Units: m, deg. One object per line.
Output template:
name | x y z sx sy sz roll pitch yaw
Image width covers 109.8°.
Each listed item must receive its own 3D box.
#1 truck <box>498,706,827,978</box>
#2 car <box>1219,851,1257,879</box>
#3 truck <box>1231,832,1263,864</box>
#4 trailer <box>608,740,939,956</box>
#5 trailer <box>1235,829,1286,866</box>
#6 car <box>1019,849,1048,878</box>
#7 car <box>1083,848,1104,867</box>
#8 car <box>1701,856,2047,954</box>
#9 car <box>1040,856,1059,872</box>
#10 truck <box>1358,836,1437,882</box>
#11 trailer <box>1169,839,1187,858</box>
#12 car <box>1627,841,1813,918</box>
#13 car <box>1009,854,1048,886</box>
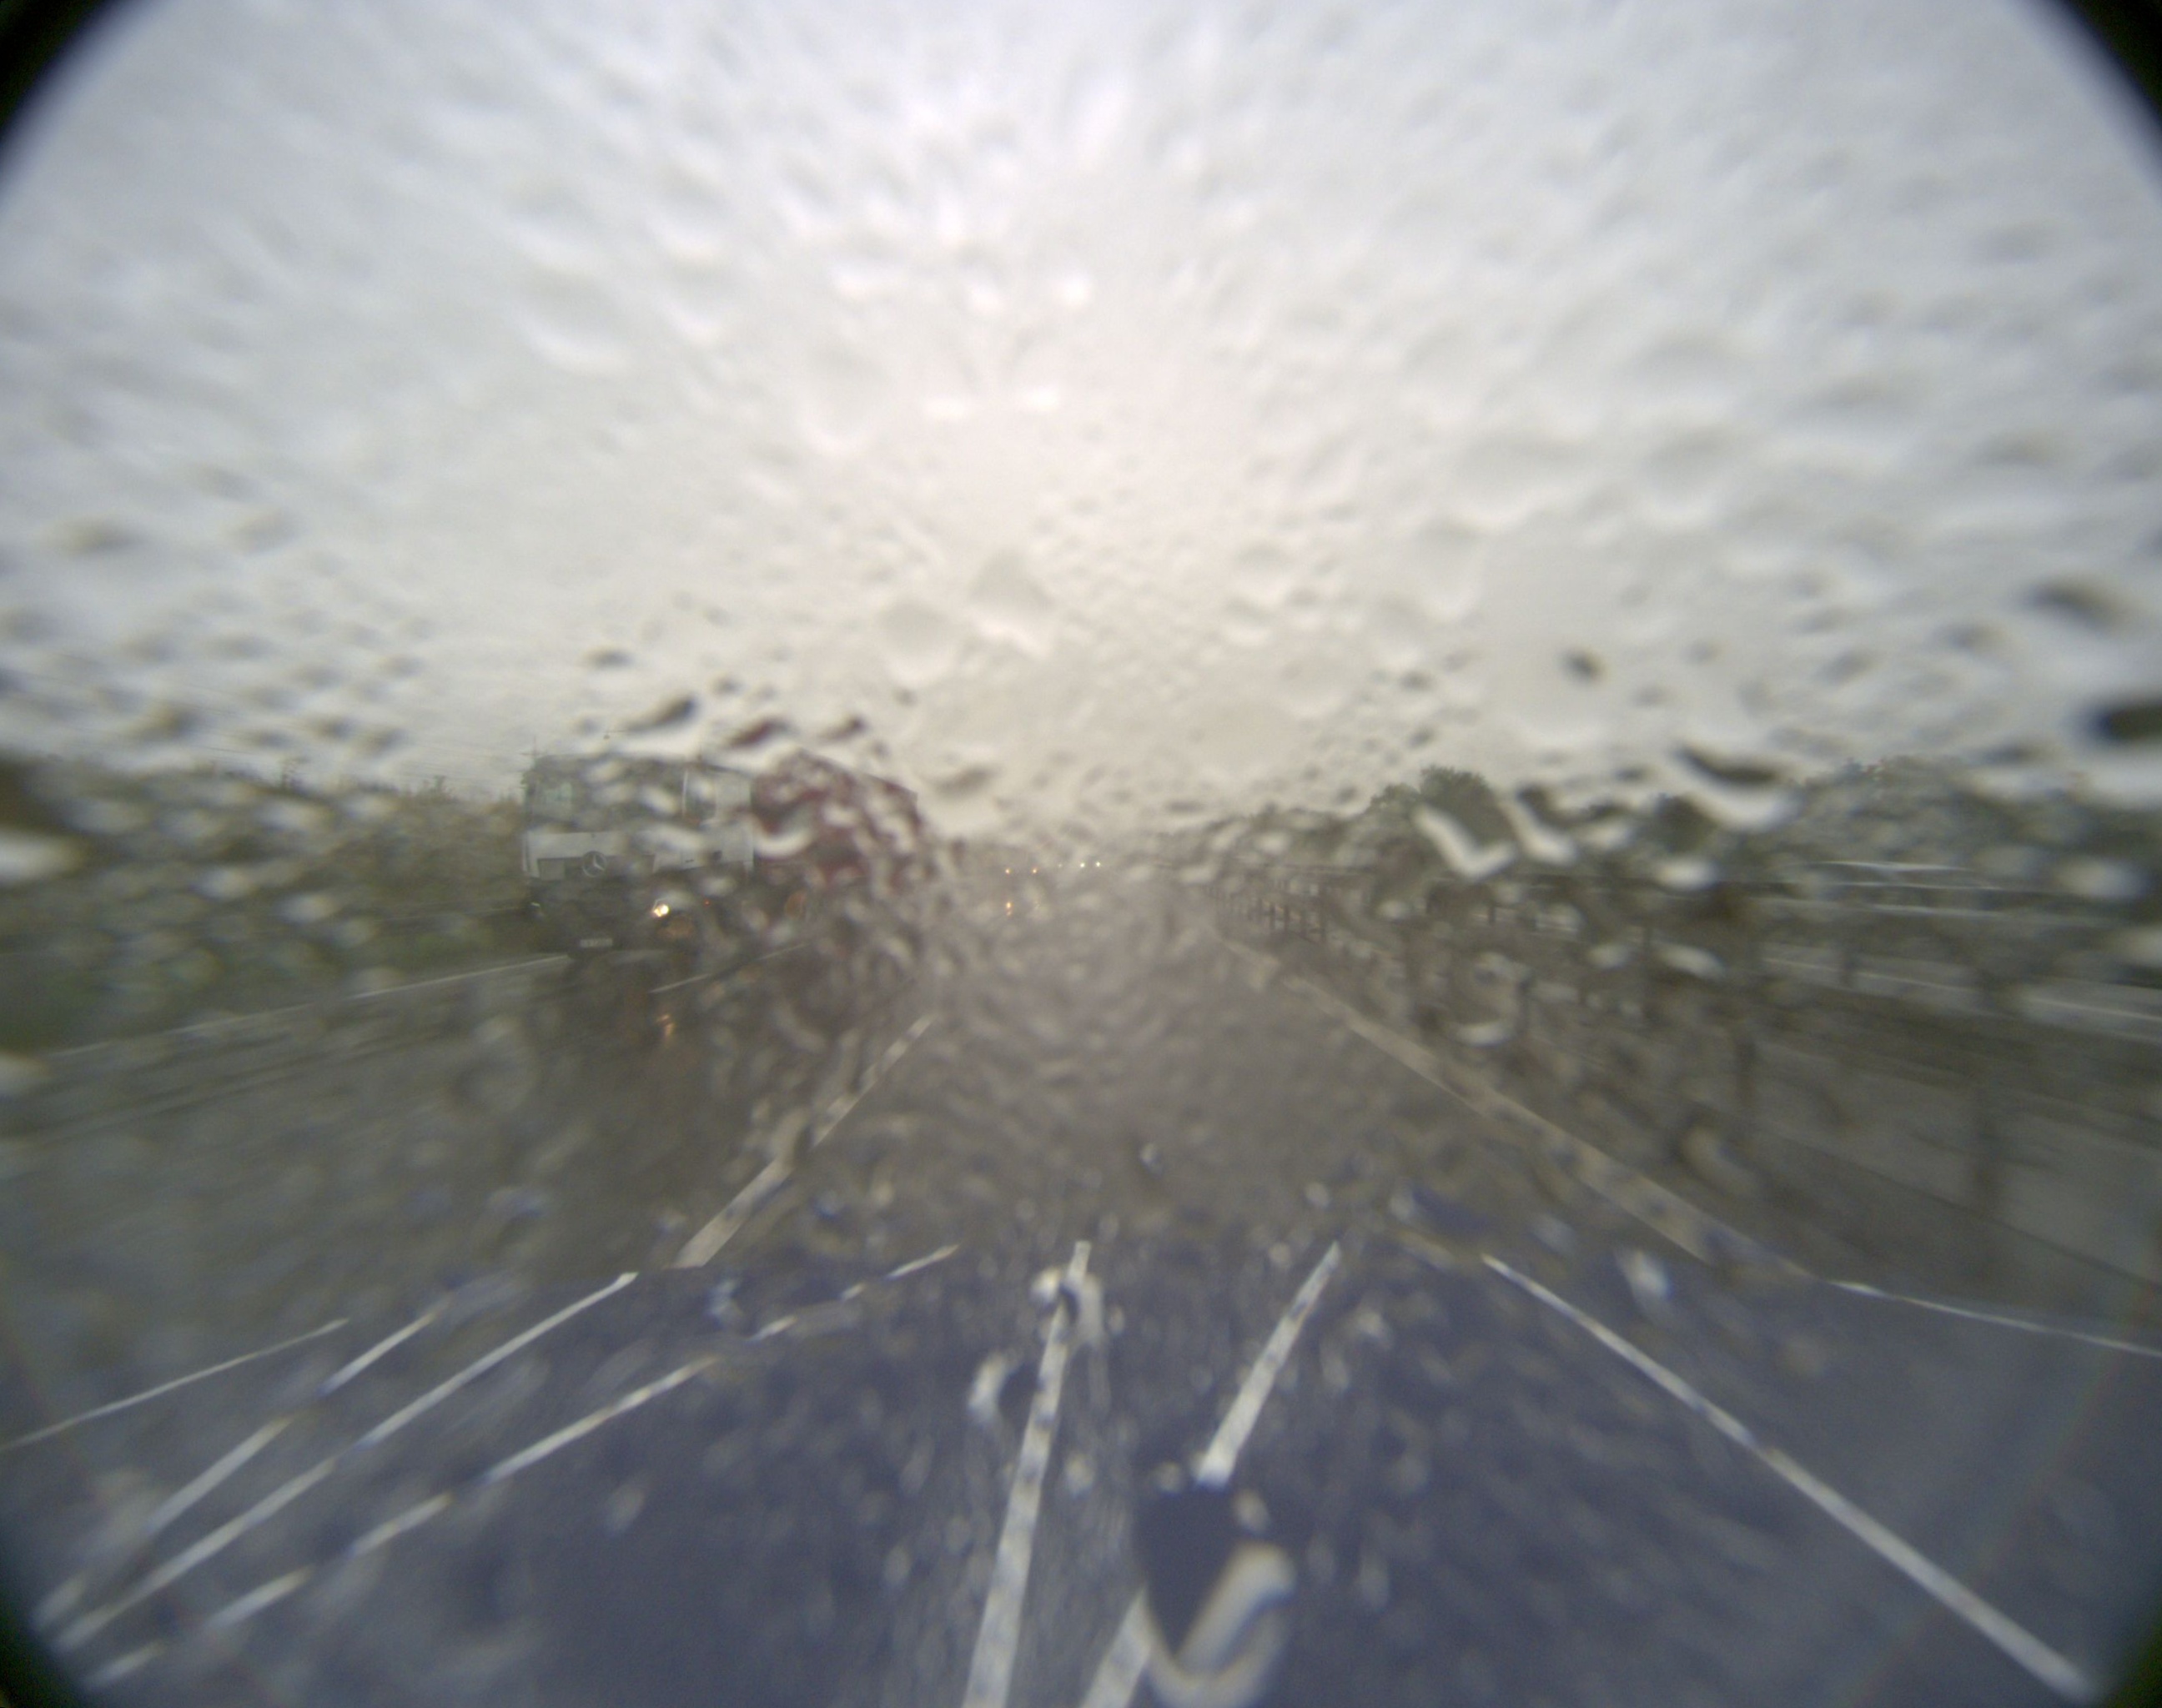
truck | -7.114 -0.184 14.148 2.457 3.866 6.199 -2 0 1
car | 12.311 0.814 59.926 1.998 2.092 4.766 -2 0 0
truck | 20.157 -0.730 92.536 2.629 3.783 5.400 -2 0 1
trailer | -6.994 -0.144 21.732 2.486 3.744 16.543 -2 0 0
trailer | 19.997 -0.702 85.423 2.640 3.782 13.584 -2 0 1
car | -2.799 0.525 45.142 1.517 1.607 3.186 -2 0 0
car | 1.144 0.282 71.769 1.845 1.671 4.000 -2 0 0
car | 15.193 0.866 15.064 1.998 1.522 4.654 -2 0 0
car | -3.526 1.099 85.335 1.845 1.671 4.000 -2 0 0
truck | 19.701 0.256 47.690 2.333 2.604 6.263 -2 0 0
trailer | 21.260 -1.177 167.209 2.301 3.782 13.611 -2 0 1
car | 19.381 0.699 23.370 1.998 2.092 4.385 -2 0 0
car | -2.690 0.783 39.496 1.663 1.491 3.836 -2 0 1
